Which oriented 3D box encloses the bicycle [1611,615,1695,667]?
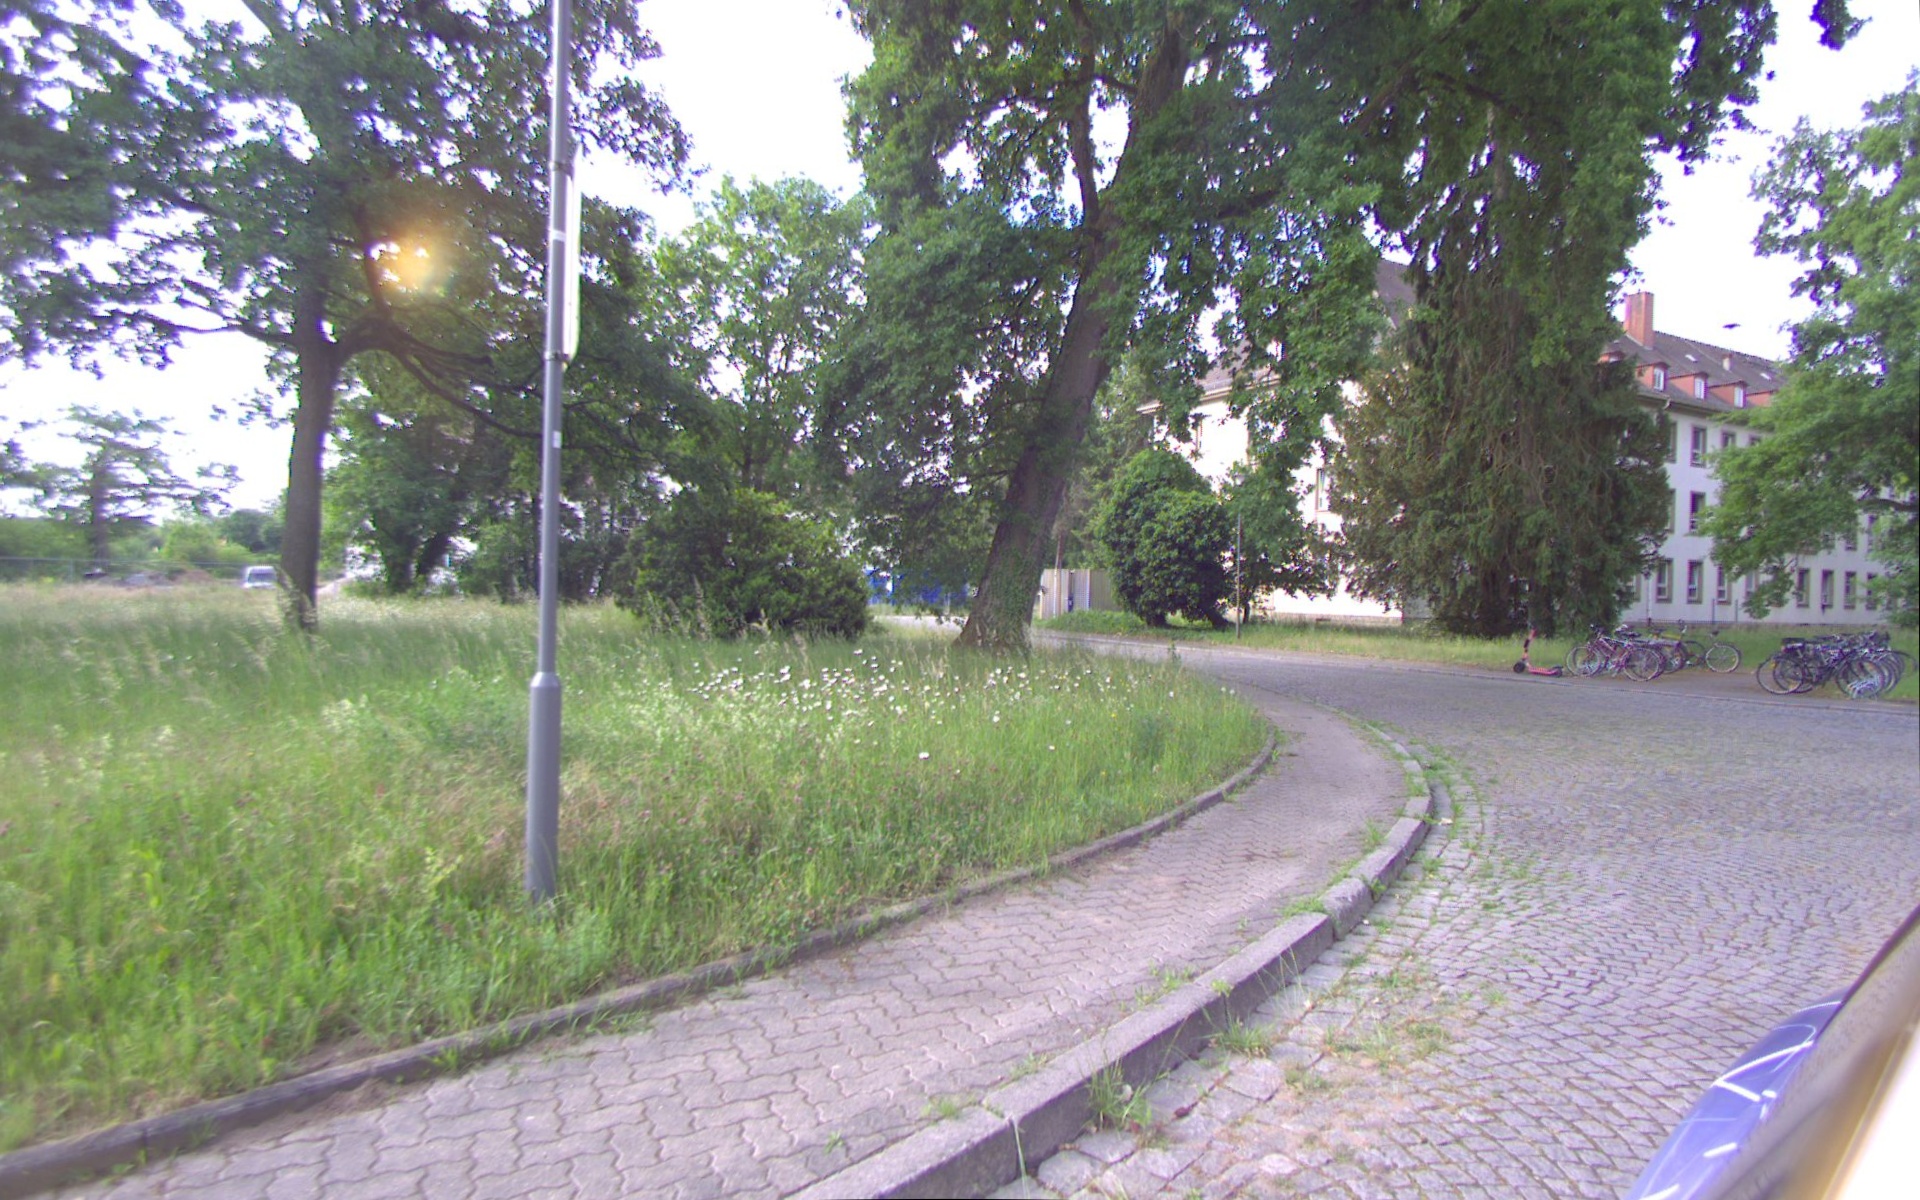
[{"bbox_3d":[16.123,0.948,23.574,1.554,1.102,0.556,2,1,32],"label":"bicycle"}]

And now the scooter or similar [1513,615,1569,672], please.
[{"bbox_3d":[13.143,0.971,22.912,0.377,1.209,1.066,1,0,-25],"label":"scooter or similar"}]

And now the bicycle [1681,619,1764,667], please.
[{"bbox_3d":[18.360,1.017,24.390,1.558,1.047,0.470,2,1,39],"label":"bicycle"}]

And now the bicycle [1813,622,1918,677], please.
[{"bbox_3d":[20.554,1.098,23.015,1.744,1.101,0.545,2,3,41],"label":"bicycle"}]

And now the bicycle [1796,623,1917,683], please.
[{"bbox_3d":[18.689,1.089,21.145,1.858,1.101,0.512,2,3,41],"label":"bicycle"}]

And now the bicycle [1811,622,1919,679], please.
[{"bbox_3d":[20.056,1.096,22.427,1.801,1.101,0.545,2,3,41],"label":"bicycle"}]

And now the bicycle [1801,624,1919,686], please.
[{"bbox_3d":[18.221,1.090,20.512,1.782,1.101,0.472,2,3,41],"label":"bicycle"}]

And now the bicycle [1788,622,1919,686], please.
[{"bbox_3d":[17.644,1.047,19.949,2.009,1.101,0.472,2,3,41],"label":"bicycle"}]

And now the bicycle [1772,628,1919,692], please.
[{"bbox_3d":[16.368,1.088,18.773,2.009,1.022,0.472,2,3,41],"label":"bicycle"}]

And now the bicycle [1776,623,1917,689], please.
[{"bbox_3d":[17.122,1.056,19.597,2.009,1.101,0.472,2,3,41],"label":"bicycle"}]

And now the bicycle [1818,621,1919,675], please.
[{"bbox_3d":[21.149,1.098,23.520,1.818,1.101,0.545,2,3,41],"label":"bicycle"}]

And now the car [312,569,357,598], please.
[{"bbox_3d":[-45.803,-1.161,74.003,2.440,2.039,5.835,0,0,-35],"label":"car"}]

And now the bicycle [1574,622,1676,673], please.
[{"bbox_3d":[14.778,1.034,22.516,1.845,1.002,0.450,2,1,36],"label":"bicycle"}]

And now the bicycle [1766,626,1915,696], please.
[{"bbox_3d":[16.003,1.080,18.455,2.009,1.101,0.472,2,3,41],"label":"bicycle"}]

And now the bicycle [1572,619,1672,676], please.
[{"bbox_3d":[14.432,1.013,22.086,1.802,1.101,0.473,2,3,36],"label":"bicycle"}]
